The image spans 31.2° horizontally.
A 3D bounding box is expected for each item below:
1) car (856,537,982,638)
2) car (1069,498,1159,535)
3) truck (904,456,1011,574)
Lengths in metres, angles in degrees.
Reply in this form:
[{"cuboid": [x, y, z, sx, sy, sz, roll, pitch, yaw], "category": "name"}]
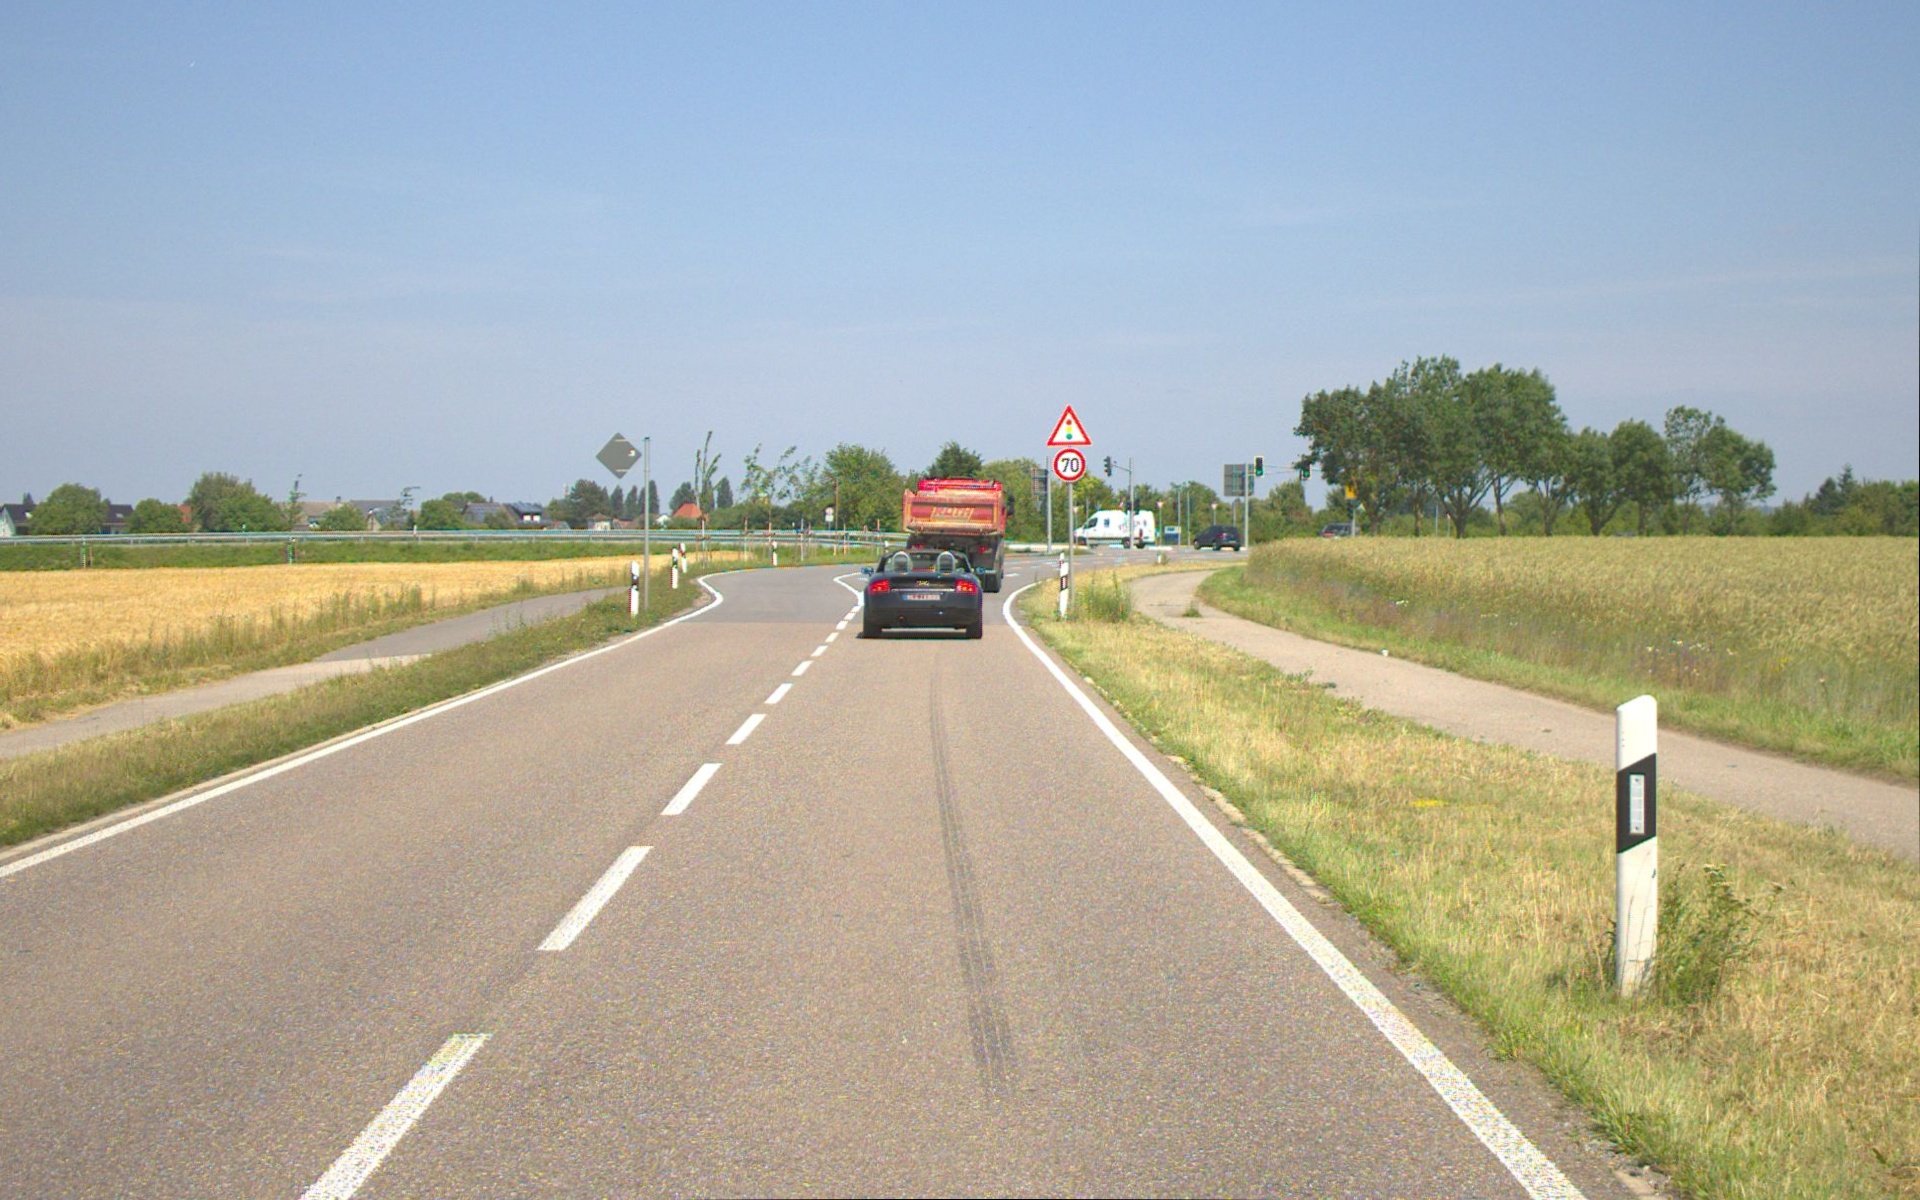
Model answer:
[{"cuboid": [-0.596, -0.194, 50.764, 1.747, 1.371, 3.679, 2, 0, -1], "category": "car"}, {"cuboid": [10.598, -5.748, 236.562, 5.930, 2.413, 2.243, 2, 2, 37], "category": "car"}, {"cuboid": [-0.112, -2.244, 93.622, 2.714, 3.042, 8.165, 1, 0, -1], "category": "truck"}]
